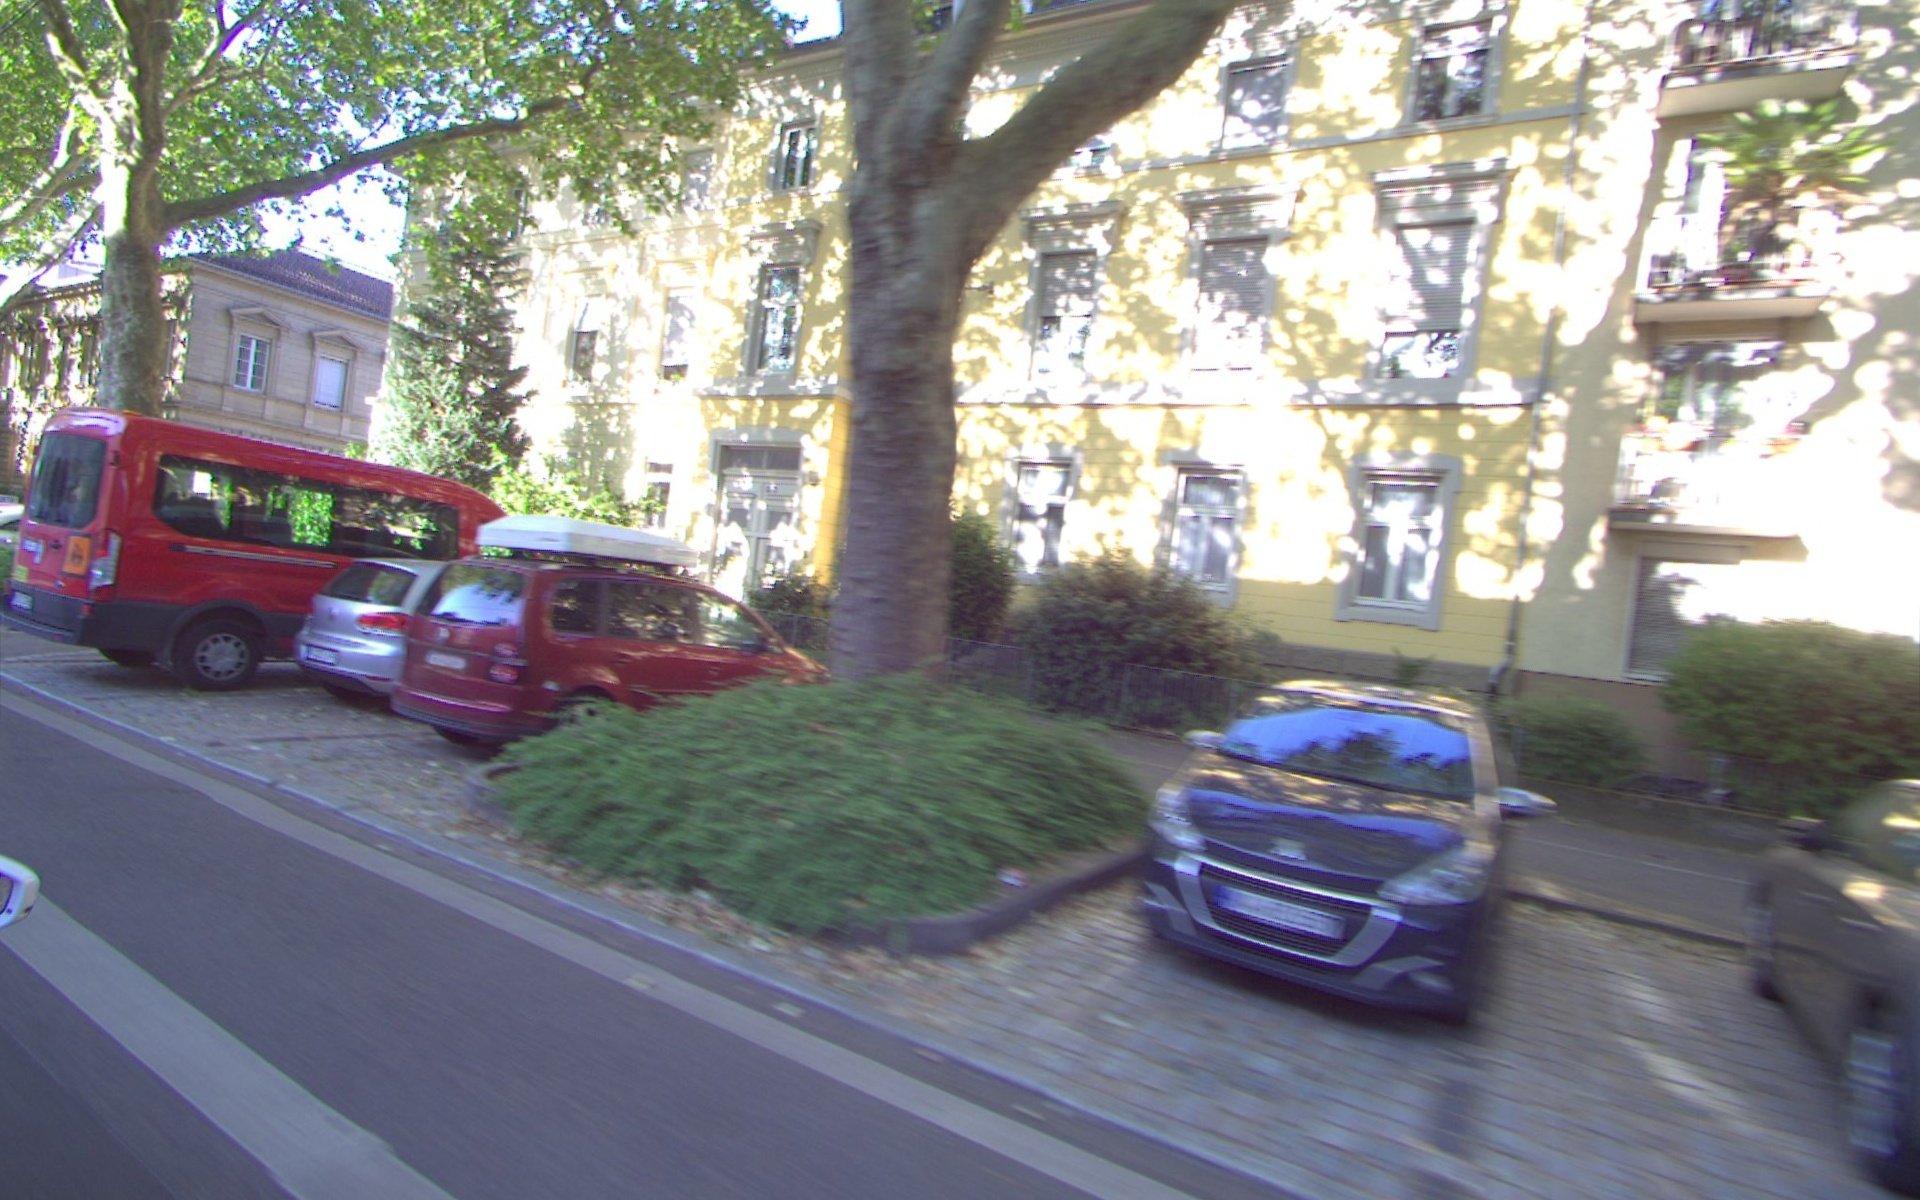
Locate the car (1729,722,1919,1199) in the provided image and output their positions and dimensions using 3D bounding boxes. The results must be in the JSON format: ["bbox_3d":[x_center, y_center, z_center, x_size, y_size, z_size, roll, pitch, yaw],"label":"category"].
[{"bbox_3d":[4.651,1.493,4.253,1.665,1.536,3.599,7,0,31],"label":"car"}]

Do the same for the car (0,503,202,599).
[{"bbox_3d":[-16.052,-0.903,17.850,1.651,1.404,3.759,7,0,26],"label":"car"}]

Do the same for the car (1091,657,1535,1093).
[{"bbox_3d":[2.364,1.223,6.044,1.665,1.543,3.673,7,1,31],"label":"car"}]

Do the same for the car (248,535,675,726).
[{"bbox_3d":[-5.085,0.364,10.796,1.640,1.549,3.741,7,0,28],"label":"car"}]

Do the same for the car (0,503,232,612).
[{"bbox_3d":[-14.516,-0.731,16.056,1.731,1.435,4.289,7,0,33],"label":"car"}]

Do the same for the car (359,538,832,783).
[{"bbox_3d":[-3.070,0.508,9.288,1.737,1.669,3.824,5,0,28],"label":"car"}]

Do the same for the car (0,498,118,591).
[{"bbox_3d":[-18.584,-1.216,18.924,1.653,1.525,3.759,7,-2,31],"label":"car"}]

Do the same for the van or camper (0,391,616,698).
[{"bbox_3d":[-7.111,-0.429,11.498,2.248,2.551,5.823,8,1,29],"label":"van or camper"}]
